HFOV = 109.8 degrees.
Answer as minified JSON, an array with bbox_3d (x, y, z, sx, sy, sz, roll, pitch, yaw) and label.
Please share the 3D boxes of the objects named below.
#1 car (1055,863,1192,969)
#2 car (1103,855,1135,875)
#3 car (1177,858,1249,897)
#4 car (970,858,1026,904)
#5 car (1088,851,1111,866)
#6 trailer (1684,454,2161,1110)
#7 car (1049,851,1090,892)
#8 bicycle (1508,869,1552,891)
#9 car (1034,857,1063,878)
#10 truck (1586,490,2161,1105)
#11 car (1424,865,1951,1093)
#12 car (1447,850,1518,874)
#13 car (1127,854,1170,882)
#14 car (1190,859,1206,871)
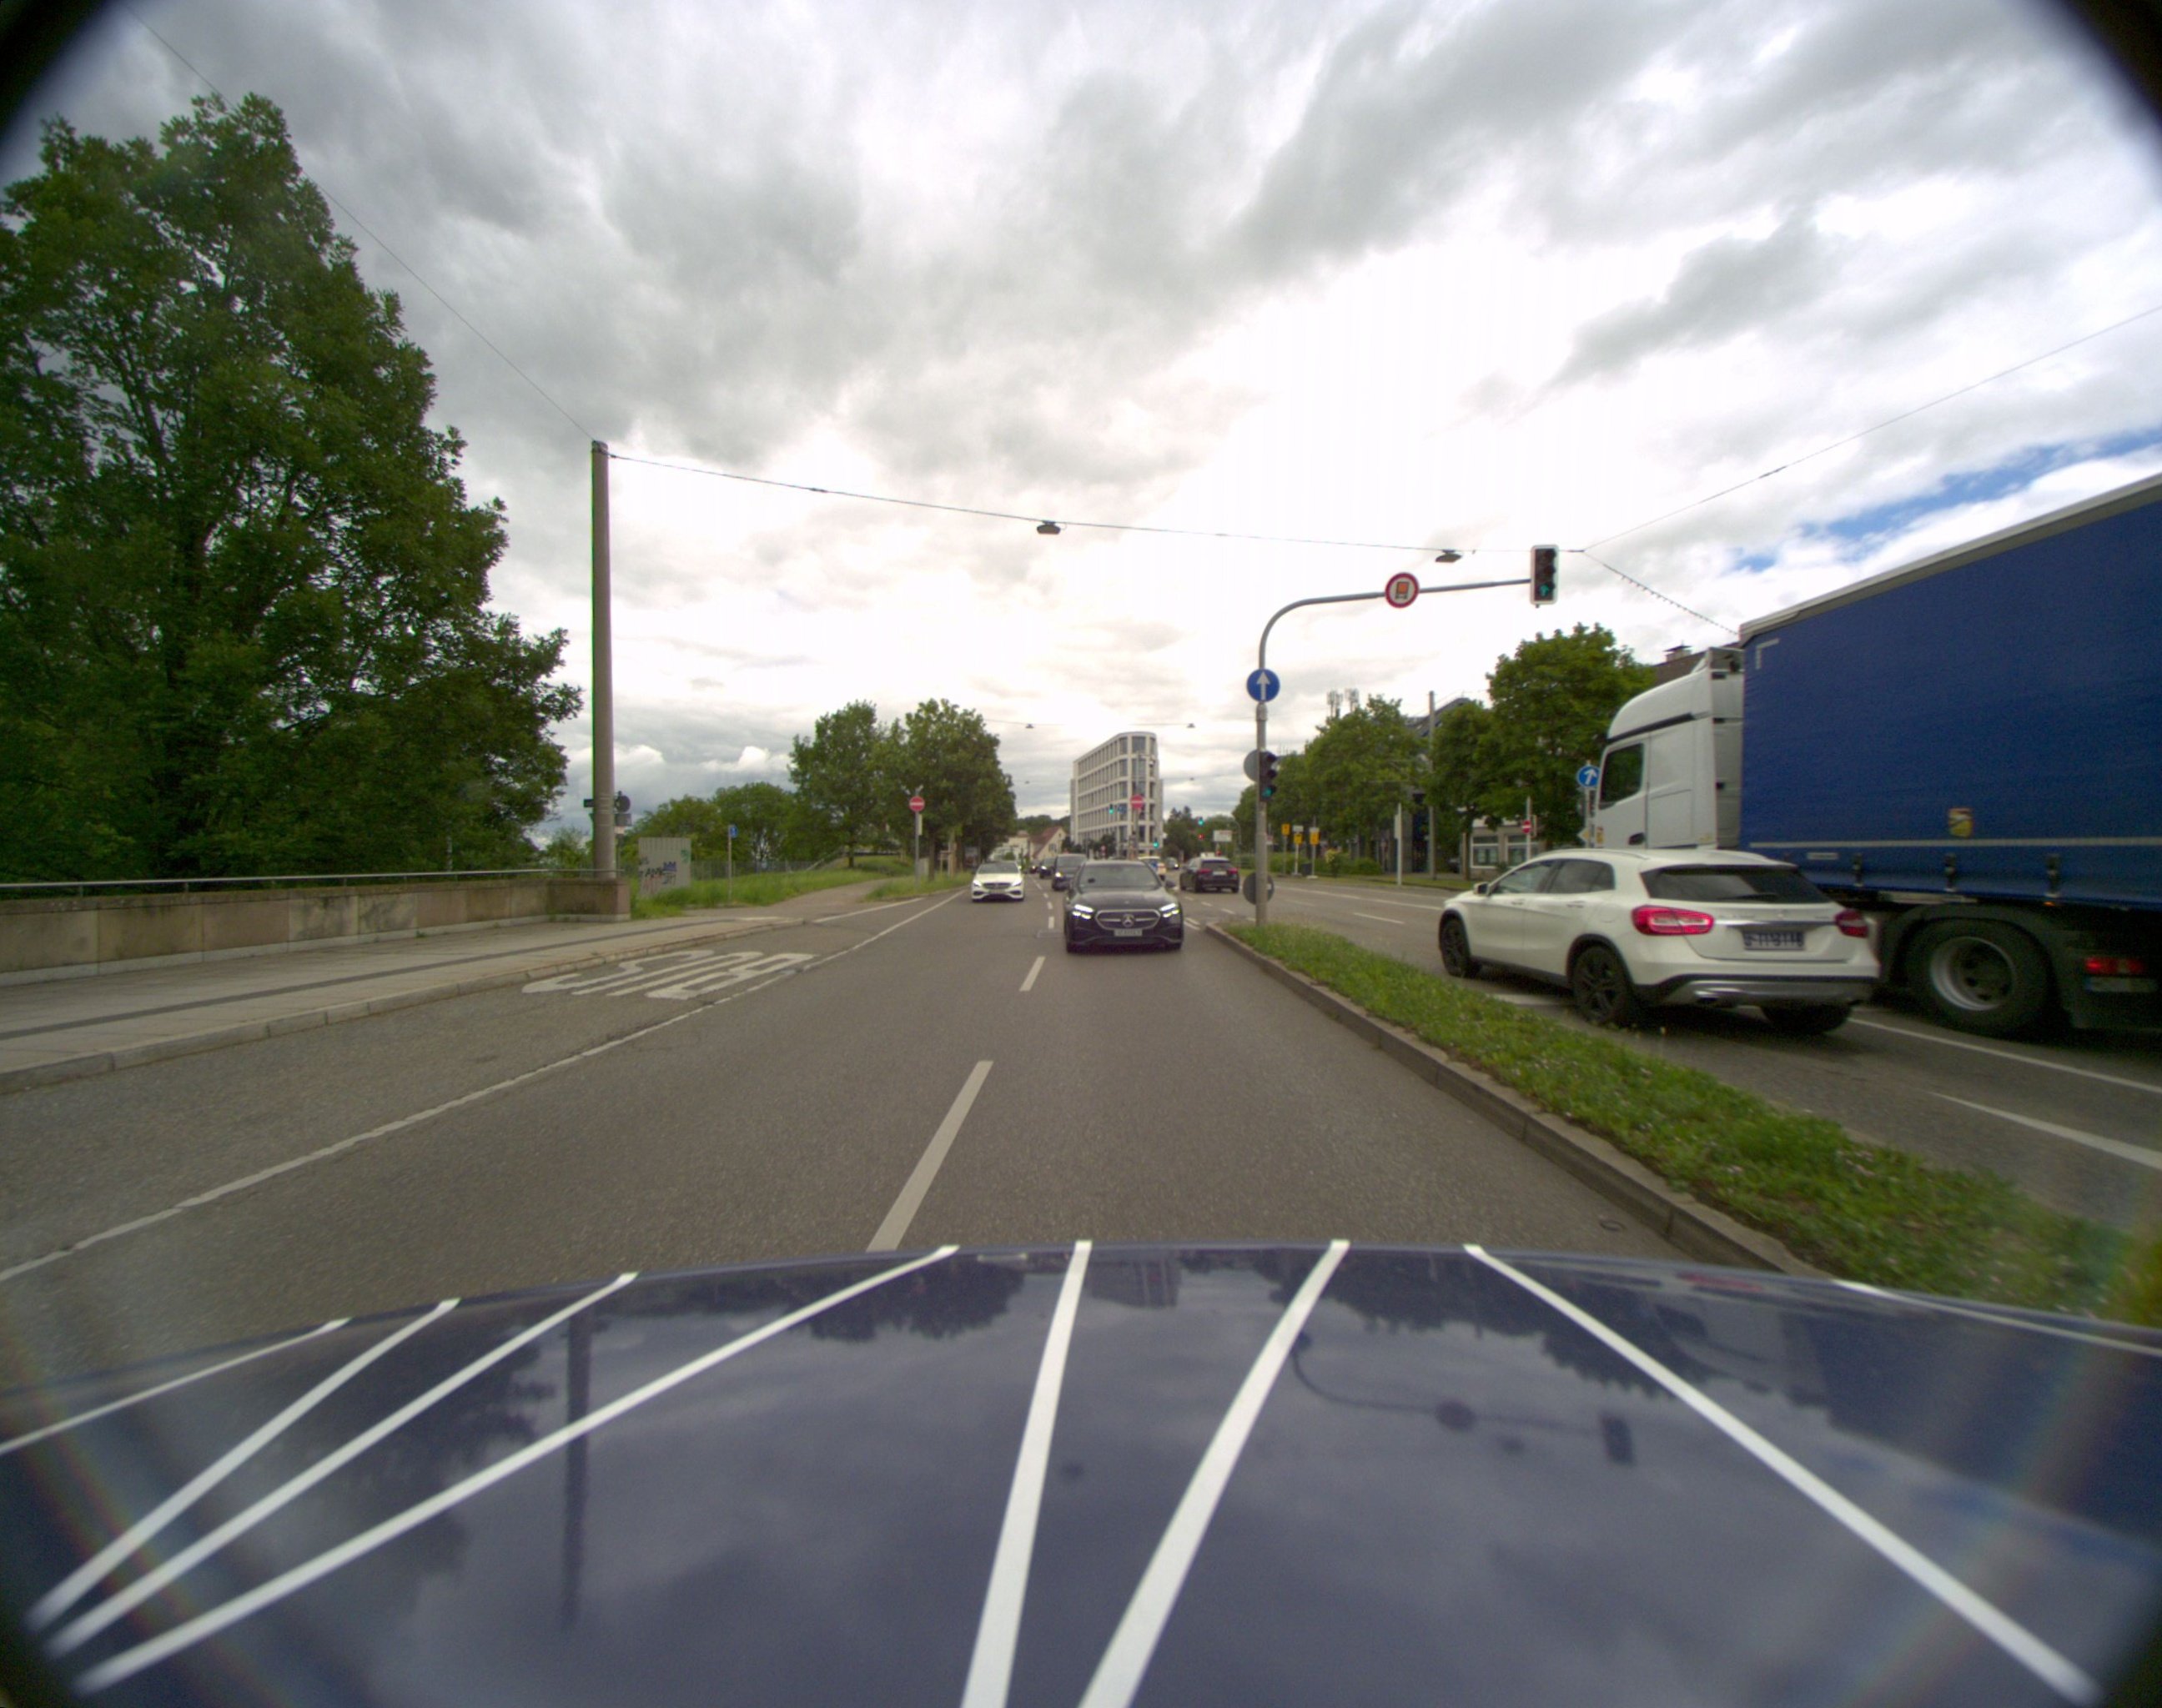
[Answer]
[{"bbox_3d":[0.567,0.962,13.912,1.873,1.542,4.770,0,0,-5],"label":"car"},{"bbox_3d":[3.030,0.856,61.392,1.955,1.585,4.770,0,0,-5],"label":"car"},{"bbox_3d":[5.339,0.899,31.416,1.999,1.450,4.772,0,0,-2],"label":"car"},{"bbox_3d":[-2.988,0.917,27.932,1.873,1.496,4.770,0,0,-5],"label":"car"},{"bbox_3d":[1.969,0.460,80.682,1.955,1.463,4.540,0,0,-5],"label":"car"},{"bbox_3d":[8.344,-0.475,1.599,3.109,4.244,14.851,0,0,3],"label":"trailer"},{"bbox_3d":[-0.563,0.741,34.781,1.735,1.680,4.367,-1,1,-2],"label":"car"},{"bbox_3d":[21.589,1.243,36.530,2.058,0.982,0.625,0,1,-20],"label":"bicycle"},{"bbox_3d":[-2.274,0.932,54.368,1.735,1.474,4.369,-1,0,1],"label":"car"},{"bbox_3d":[8.733,-0.347,7.923,3.098,3.998,6.157,0,0,3],"label":"truck"},{"bbox_3d":[5.154,0.892,7.424,1.790,1.507,4.365,0,0,2],"label":"car"},{"bbox_3d":[27.906,0.525,52.822,4.001,1.586,1.998,0,0,-12],"label":"car"},{"bbox_3d":[4.011,0.804,46.017,1.917,1.585,4.814,0,0,-3],"label":"car"},{"bbox_3d":[15.214,1.437,98.801,1.953,1.463,4.545,0,0,7],"label":"car"}]
